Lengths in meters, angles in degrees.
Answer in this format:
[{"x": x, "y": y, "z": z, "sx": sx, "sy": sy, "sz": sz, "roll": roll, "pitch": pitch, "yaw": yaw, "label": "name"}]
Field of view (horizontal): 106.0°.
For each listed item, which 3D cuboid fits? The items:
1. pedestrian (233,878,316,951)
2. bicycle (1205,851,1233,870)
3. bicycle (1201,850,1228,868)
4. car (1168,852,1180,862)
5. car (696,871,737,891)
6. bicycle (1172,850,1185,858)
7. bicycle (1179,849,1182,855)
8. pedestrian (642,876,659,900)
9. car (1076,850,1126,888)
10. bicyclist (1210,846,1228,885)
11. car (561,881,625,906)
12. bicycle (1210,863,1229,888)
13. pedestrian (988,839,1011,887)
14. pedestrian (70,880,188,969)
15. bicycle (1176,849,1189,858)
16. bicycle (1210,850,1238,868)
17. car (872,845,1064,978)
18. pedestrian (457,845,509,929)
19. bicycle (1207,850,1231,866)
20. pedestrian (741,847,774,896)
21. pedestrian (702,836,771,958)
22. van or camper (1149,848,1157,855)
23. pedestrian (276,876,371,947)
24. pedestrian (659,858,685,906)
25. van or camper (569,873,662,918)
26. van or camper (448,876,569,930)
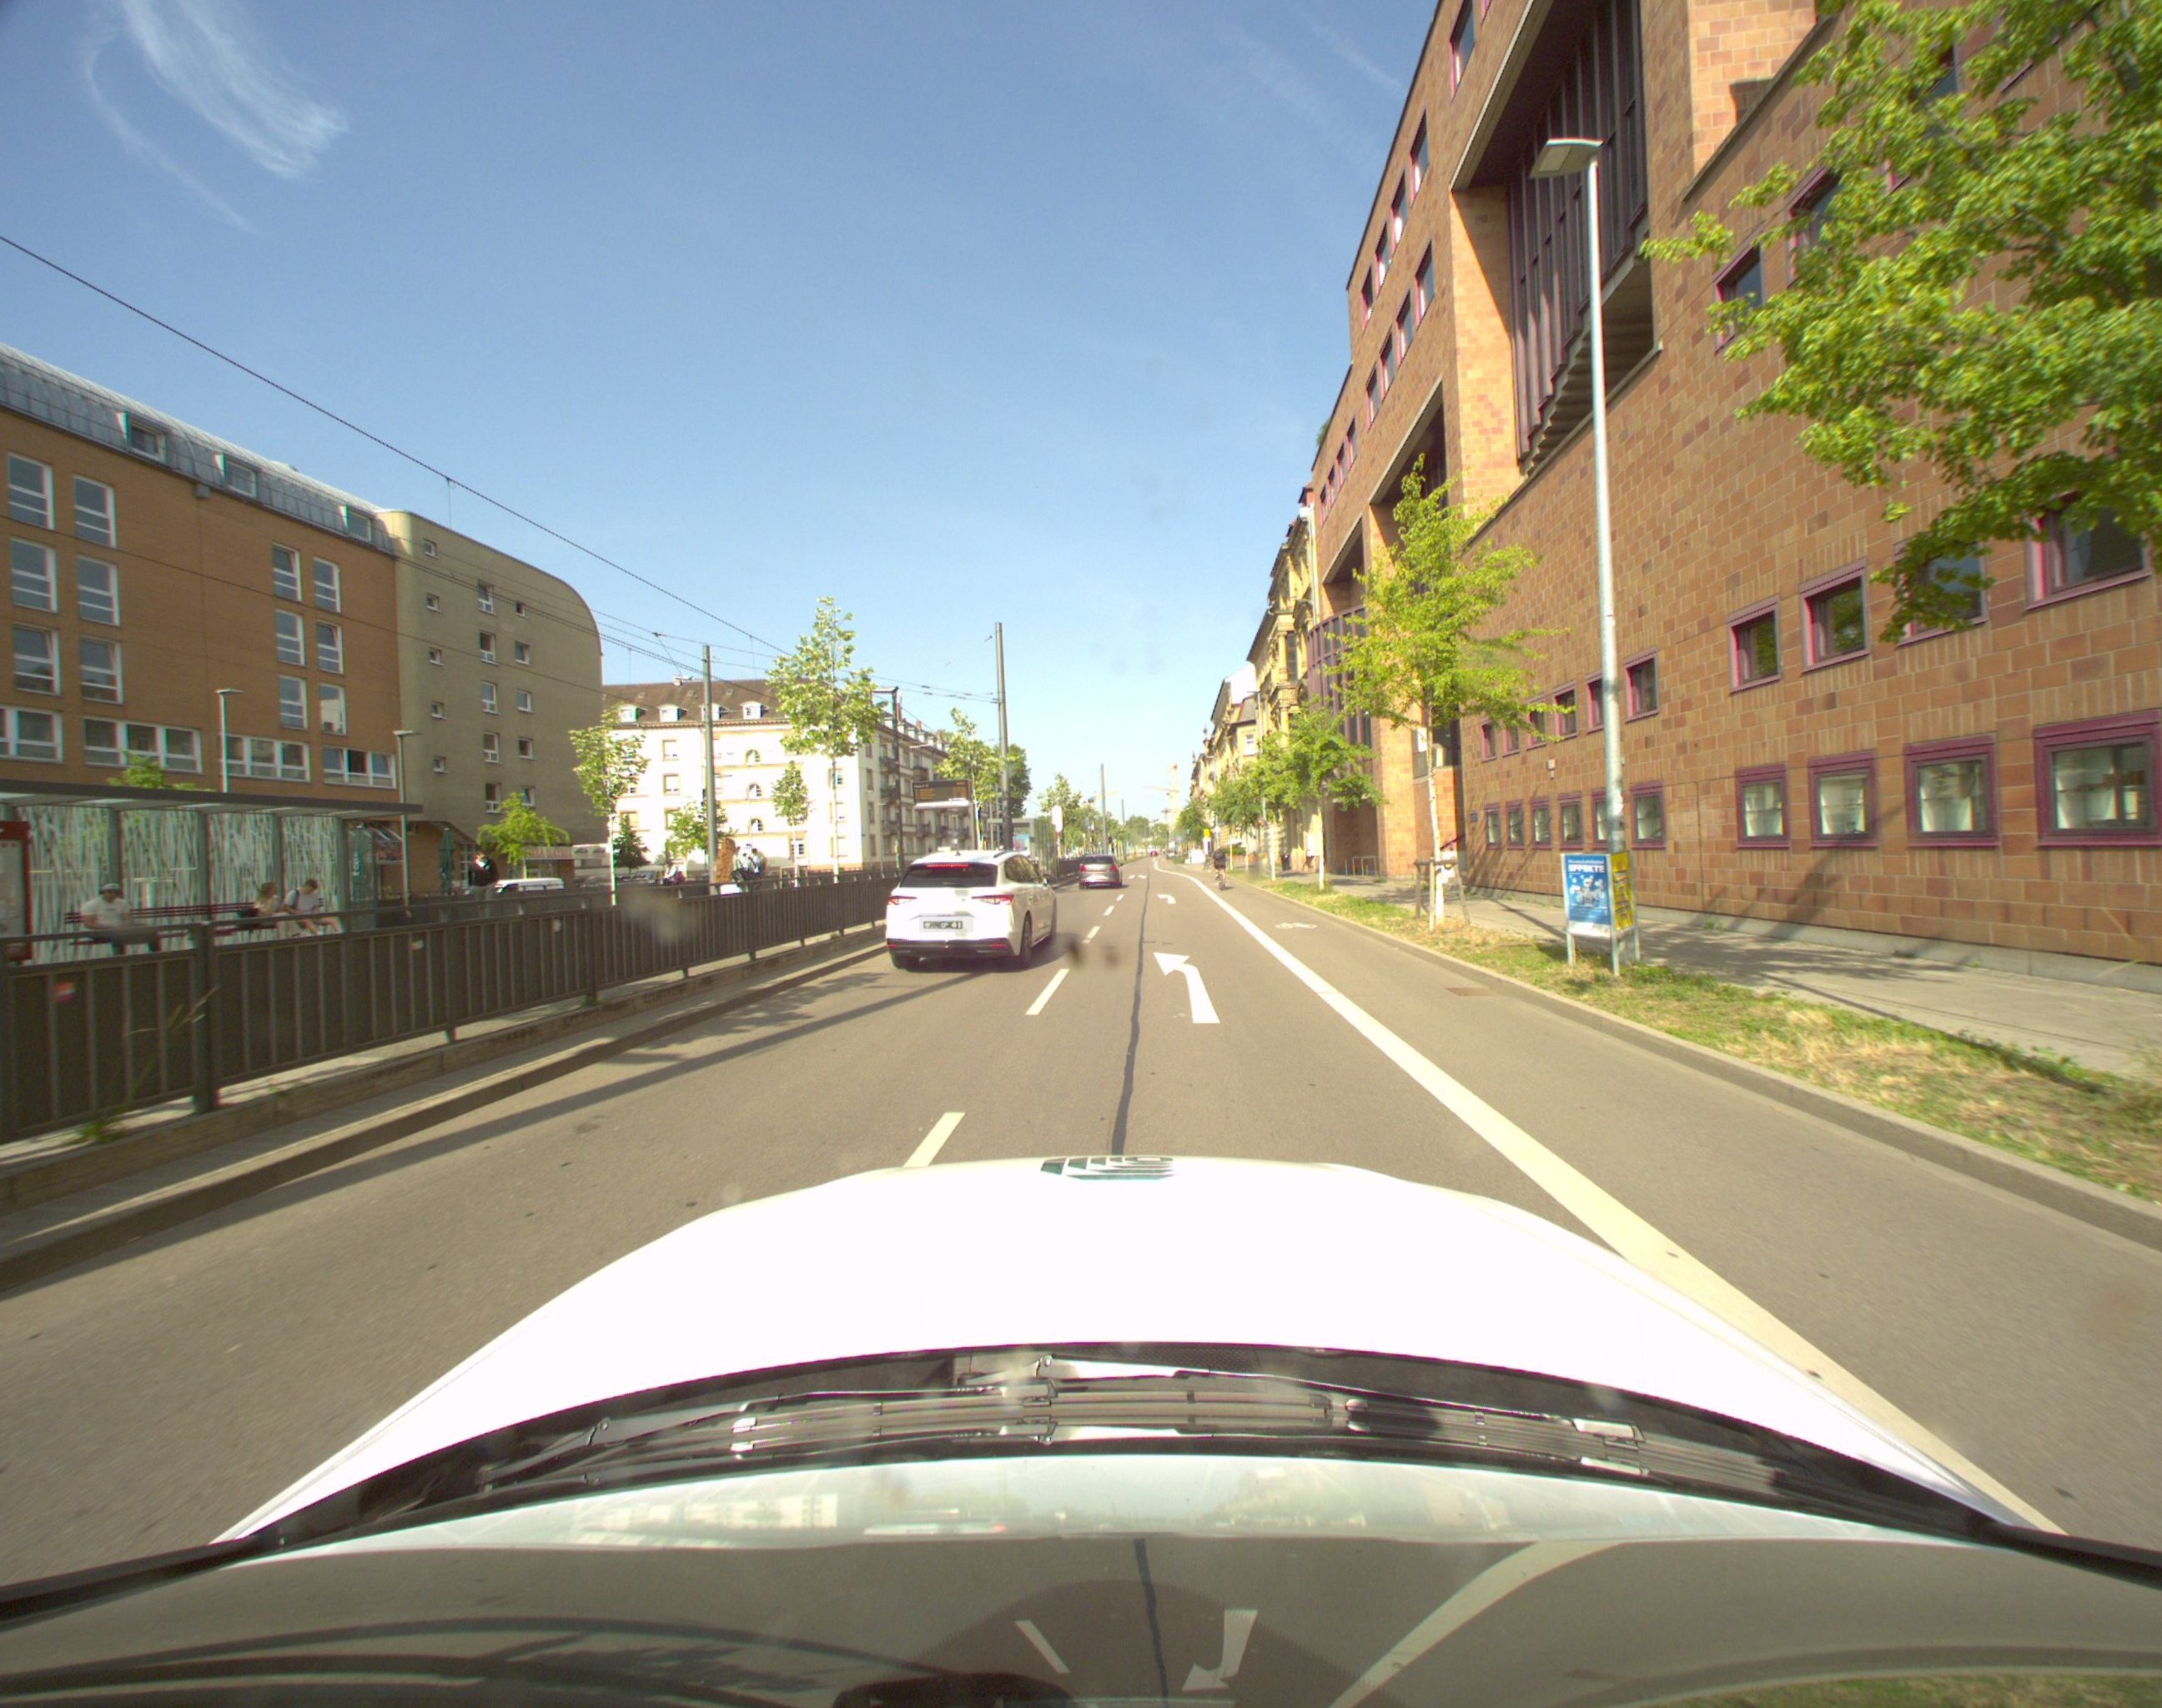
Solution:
[{"x": -14.833, "y": 1.108, "z": 15.001, "sx": 0.788, "sy": 1.245, "sz": 0.676, "roll": -4, "pitch": 0, "yaw": 4, "label": "pedestrian"}, {"x": 9.513, "y": 0.436, "z": 56.237, "sx": 1.752, "sy": 1.087, "sz": 0.610, "roll": -6, "pitch": 0, "yaw": -4, "label": "bicycle"}, {"x": 9.673, "y": 0.370, "z": 59.080, "sx": 1.760, "sy": 1.087, "sz": 0.668, "roll": -6, "pitch": 0, "yaw": -18, "label": "bicycle"}, {"x": 16.213, "y": 0.542, "z": 142.527, "sx": 1.762, "sy": 1.588, "sz": 4.250, "roll": -4, "pitch": 0, "yaw": 2, "label": "car"}, {"x": -31.659, "y": 2.330, "z": 70.852, "sx": 1.667, "sy": 1.532, "sz": 3.925, "roll": -3, "pitch": 0, "yaw": 0, "label": "car"}, {"x": 14.513, "y": -0.044, "z": 120.929, "sx": 1.777, "sy": 1.054, "sz": 0.373, "roll": -4, "pitch": 0, "yaw": 4, "label": "bicycle"}, {"x": 19.931, "y": -0.388, "z": 163.506, "sx": 0.490, "sy": 1.093, "sz": 1.830, "roll": -3, "pitch": 0, "yaw": 6, "label": "bicycle"}, {"x": -29.133, "y": 2.287, "z": 55.128, "sx": 0.805, "sy": 1.583, "sz": 0.678, "roll": -3, "pitch": 0, "yaw": -10, "label": "pedestrian"}, {"x": 0.906, "y": 0.594, "z": 34.931, "sx": 1.745, "sy": 1.484, "sz": 4.414, "roll": -2, "pitch": 0, "yaw": 6, "label": "car"}, {"x": 5.365, "y": 0.445, "z": 31.626, "sx": 0.581, "sy": 1.482, "sz": 0.932, "roll": 0, "pitch": -1, "yaw": 3, "label": "bicyclist"}, {"x": -35.539, "y": 2.834, "z": 59.459, "sx": 1.985, "sy": 1.508, "sz": 4.003, "roll": -3, "pitch": 0, "yaw": 3, "label": "car"}, {"x": 5.379, "y": 0.818, "z": 31.677, "sx": 0.503, "sy": 0.953, "sz": 1.786, "roll": 0, "pitch": -1, "yaw": 3, "label": "bicycle"}, {"x": -3.482, "y": 0.379, "z": 35.004, "sx": 0.829, "sy": 2.014, "sz": 1.029, "roll": 0, "pitch": 0, "yaw": 2, "label": "pedestrian"}, {"x": -15.234, "y": 1.111, "z": 13.055, "sx": 0.865, "sy": 1.314, "sz": 0.809, "roll": -3, "pitch": 0, "yaw": 2, "label": "pedestrian"}, {"x": 14.860, "y": -0.050, "z": 119.642, "sx": 1.801, "sy": 1.096, "sz": 0.671, "roll": -4, "pitch": 0, "yaw": 0, "label": "bicycle"}, {"x": 10.118, "y": 0.361, "z": 57.760, "sx": 1.752, "sy": 1.087, "sz": 0.657, "roll": -6, "pitch": 0, "yaw": -4, "label": "bicycle"}, {"x": -1.450, "y": 0.708, "z": 12.243, "sx": 1.808, "sy": 1.590, "sz": 4.414, "roll": -2, "pitch": 0, "yaw": 6, "label": "car"}, {"x": -13.920, "y": 0.748, "z": 18.966, "sx": 0.808, "sy": 1.886, "sz": 0.550, "roll": -3, "pitch": 0, "yaw": -24, "label": "pedestrian"}, {"x": 10.463, "y": 0.300, "z": 61.750, "sx": 1.742, "sy": 1.087, "sz": 0.584, "roll": -5, "pitch": 0, "yaw": 8, "label": "bicycle"}, {"x": -12.736, "y": 0.686, "z": 32.065, "sx": 0.735, "sy": 1.872, "sz": 0.941, "roll": -3, "pitch": 0, "yaw": 7, "label": "pedestrian"}, {"x": -5.112, "y": 0.627, "z": 12.116, "sx": 0.670, "sy": 1.757, "sz": 0.728, "roll": 0, "pitch": 0, "yaw": 4, "label": "pedestrian"}, {"x": 19.182, "y": -0.668, "z": 216.902, "sx": 1.984, "sy": 1.655, "sz": 4.006, "roll": -3, "pitch": 0, "yaw": 5, "label": "van or camper"}, {"x": -14.603, "y": 1.099, "z": 15.722, "sx": 1.148, "sy": 1.245, "sz": 0.676, "roll": -4, "pitch": 0, "yaw": 4, "label": "pedestrian"}, {"x": -13.575, "y": 0.917, "z": 27.034, "sx": 0.679, "sy": 1.530, "sz": 0.805, "roll": -3, "pitch": 0, "yaw": -26, "label": "pedestrian"}, {"x": -23.898, "y": 2.085, "z": 41.982, "sx": 1.918, "sy": 1.968, "sz": 4.011, "roll": -3, "pitch": 0, "yaw": 10, "label": "van or camper"}, {"x": -25.035, "y": 2.100, "z": 35.790, "sx": 1.981, "sy": 2.013, "sz": 4.012, "roll": -3, "pitch": 0, "yaw": 10, "label": "van or camper"}]
